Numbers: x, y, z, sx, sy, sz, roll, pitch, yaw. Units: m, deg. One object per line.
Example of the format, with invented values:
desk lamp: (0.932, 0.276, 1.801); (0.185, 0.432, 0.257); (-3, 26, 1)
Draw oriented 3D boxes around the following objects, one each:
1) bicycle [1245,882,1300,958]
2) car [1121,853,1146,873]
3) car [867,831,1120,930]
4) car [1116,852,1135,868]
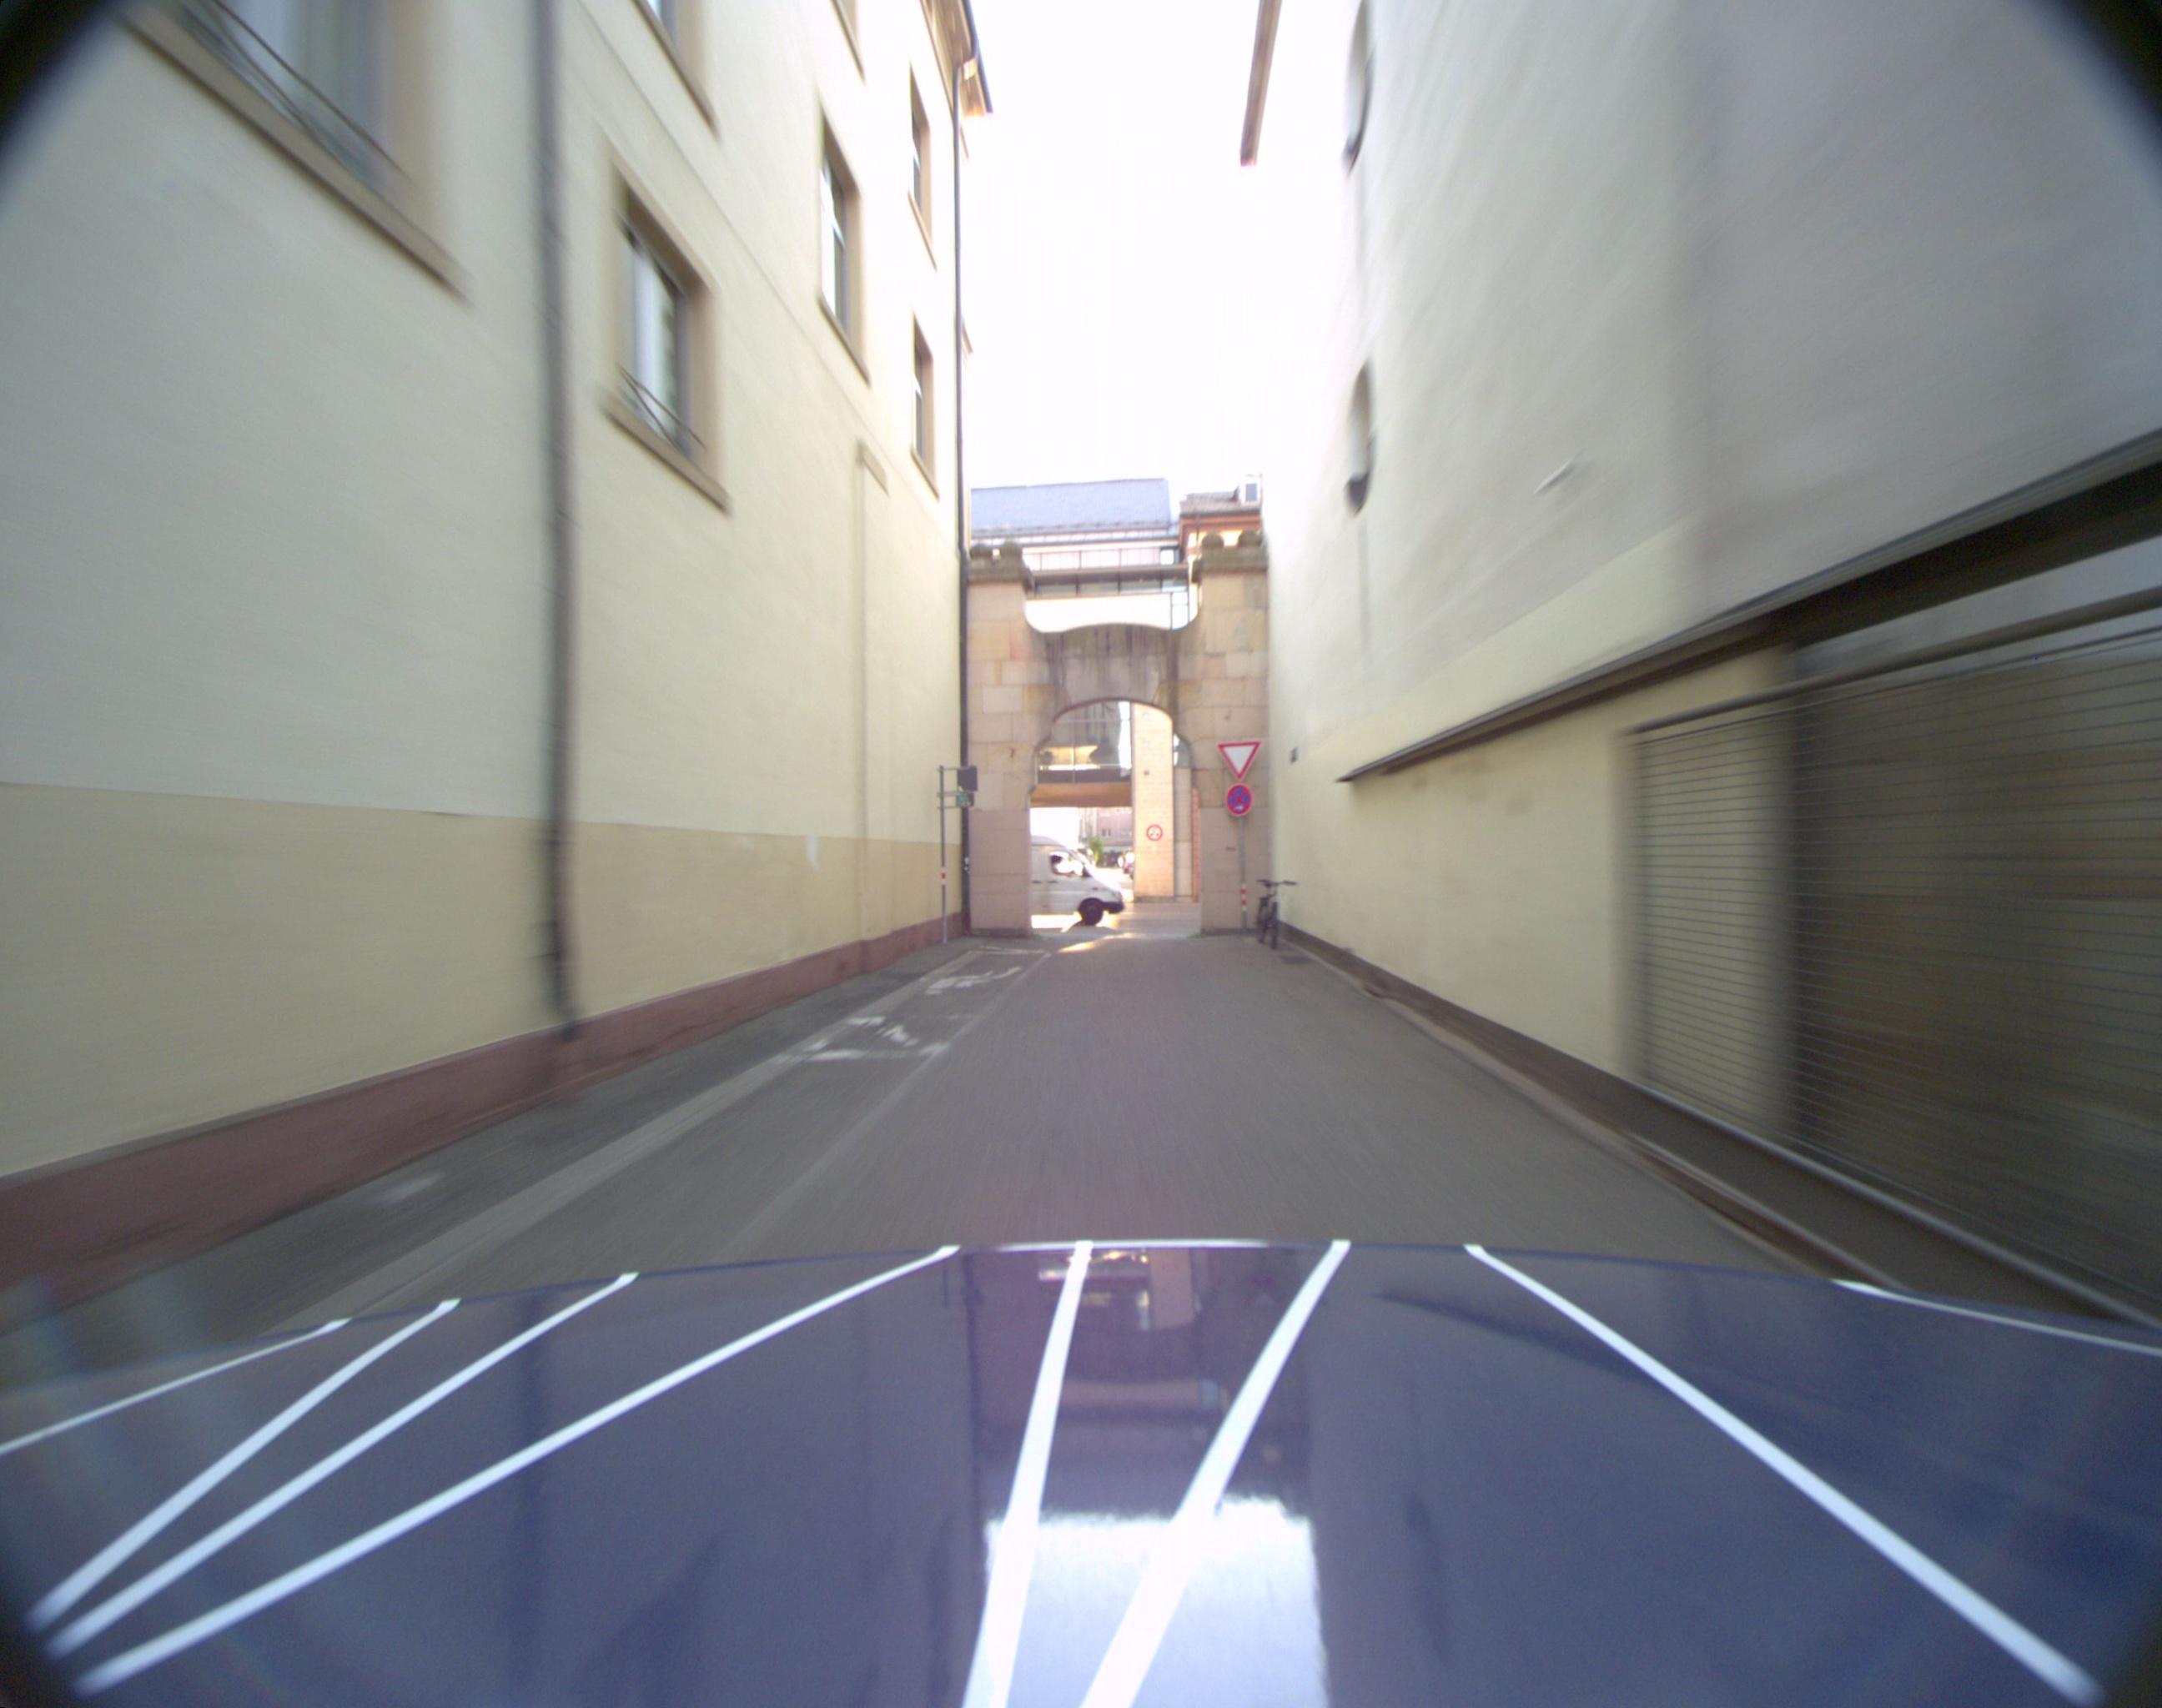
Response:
bicycle: (3.049, 1.021, 12.237); (0.596, 1.073, 1.756); (-1, 0, 5)
car: (4.054, 0.681, 58.918); (1.601, 1.484, 3.444); (-1, 1, -2)
car: (-2.246, 0.658, 20.589); (6.465, 2.498, 2.001); (-1, 2, -1)
car: (4.433, 0.617, 76.763); (1.601, 1.484, 3.444); (-1, 1, -2)
